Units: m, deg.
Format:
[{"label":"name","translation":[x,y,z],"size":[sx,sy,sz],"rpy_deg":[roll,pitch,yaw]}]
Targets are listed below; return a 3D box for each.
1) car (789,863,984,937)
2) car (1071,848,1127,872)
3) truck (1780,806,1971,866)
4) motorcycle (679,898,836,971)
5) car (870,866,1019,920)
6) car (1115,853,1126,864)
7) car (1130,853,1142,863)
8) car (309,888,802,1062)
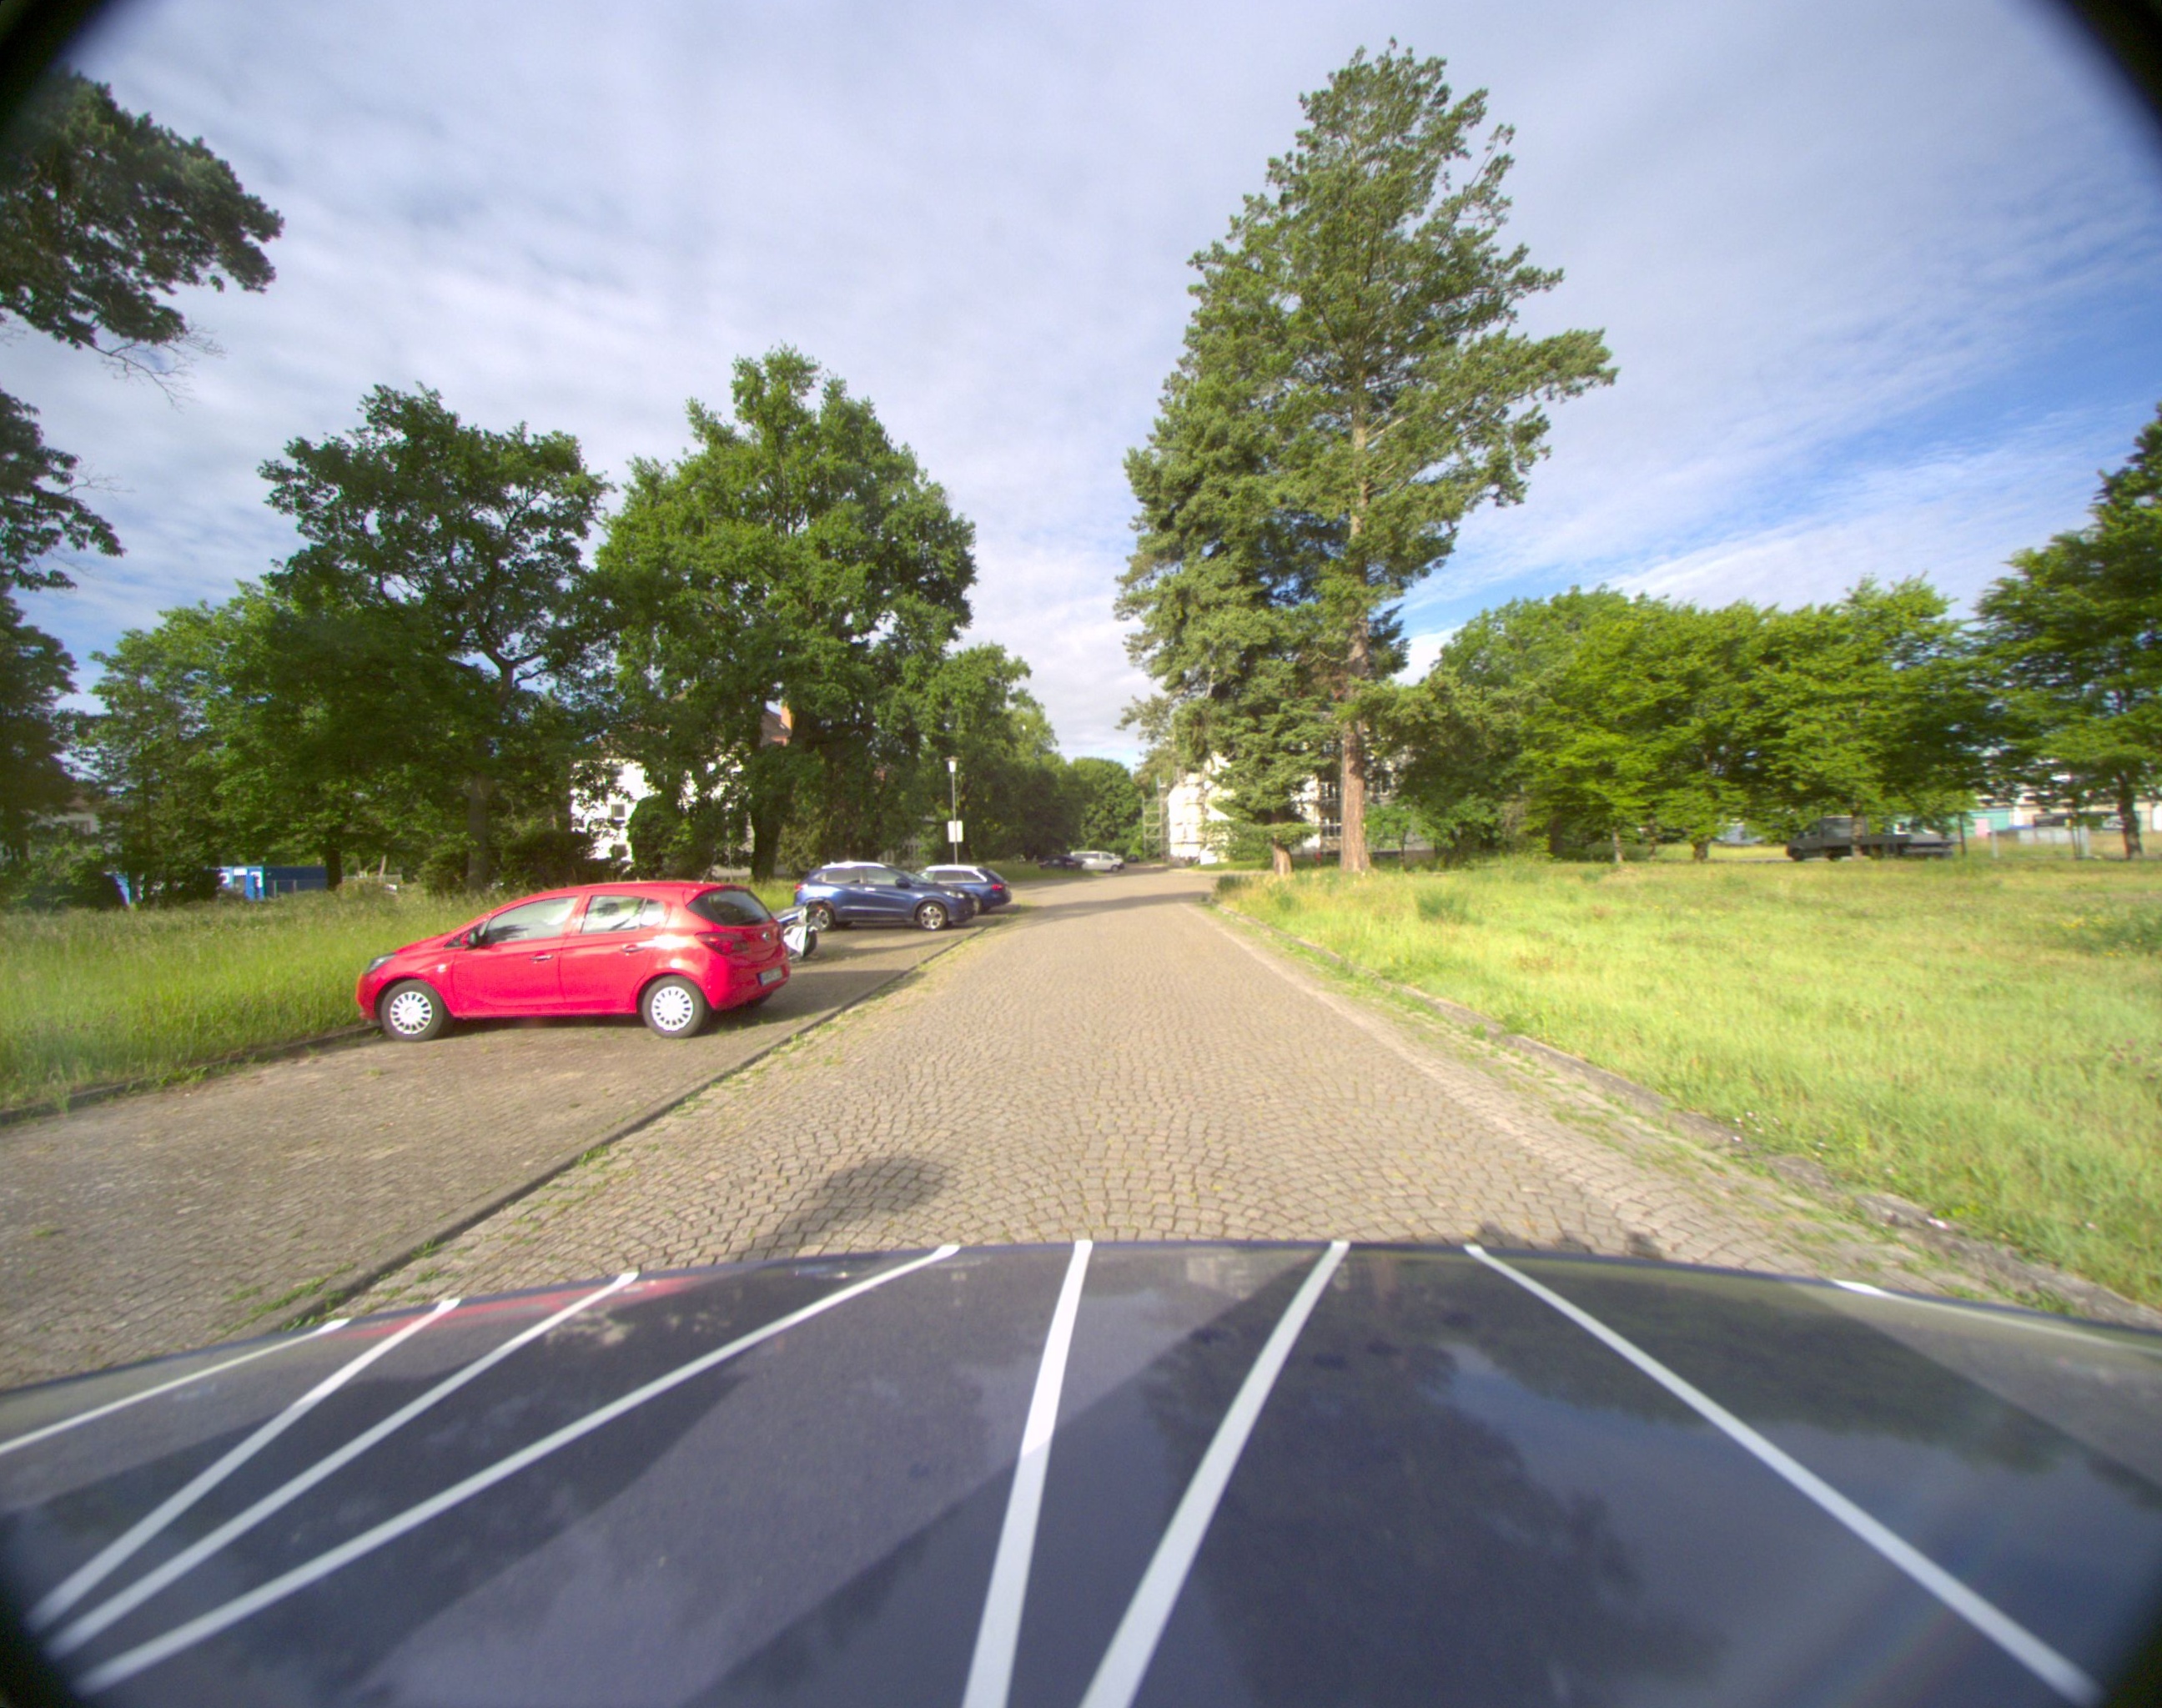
[{"label":"car","translation":[-4.524,1.061,18.109],"size":[4.135,1.560,1.746],"rpy_deg":[-1,1,2]},{"label":"car","translation":[1.700,0.558,71.561],"size":[5.078,2.029,2.000],"rpy_deg":[-2,0,2]},{"label":"truck","translation":[38.463,-0.800,37.199],"size":[2.417,2.572,6.961],"rpy_deg":[-2,0,5]},{"label":"motorcycle","translation":[-5.251,1.305,12.402],"size":[2.306,1.107,0.607],"rpy_deg":[-1,1,4]},{"label":"car","translation":[-4.033,1.144,22.793],"size":[4.034,1.442,1.783],"rpy_deg":[-1,1,4]},{"label":"car","translation":[7.187,0.765,137.506],"size":[1.874,1.888,4.000],"rpy_deg":[-2,1,2]},{"label":"car","translation":[9.923,0.723,137.619],"size":[1.998,1.762,4.109],"rpy_deg":[-2,1,2]},{"label":"car","translation":[-5.155,1.160,7.840],"size":[3.886,1.464,1.687],"rpy_deg":[-1,1,1]}]
